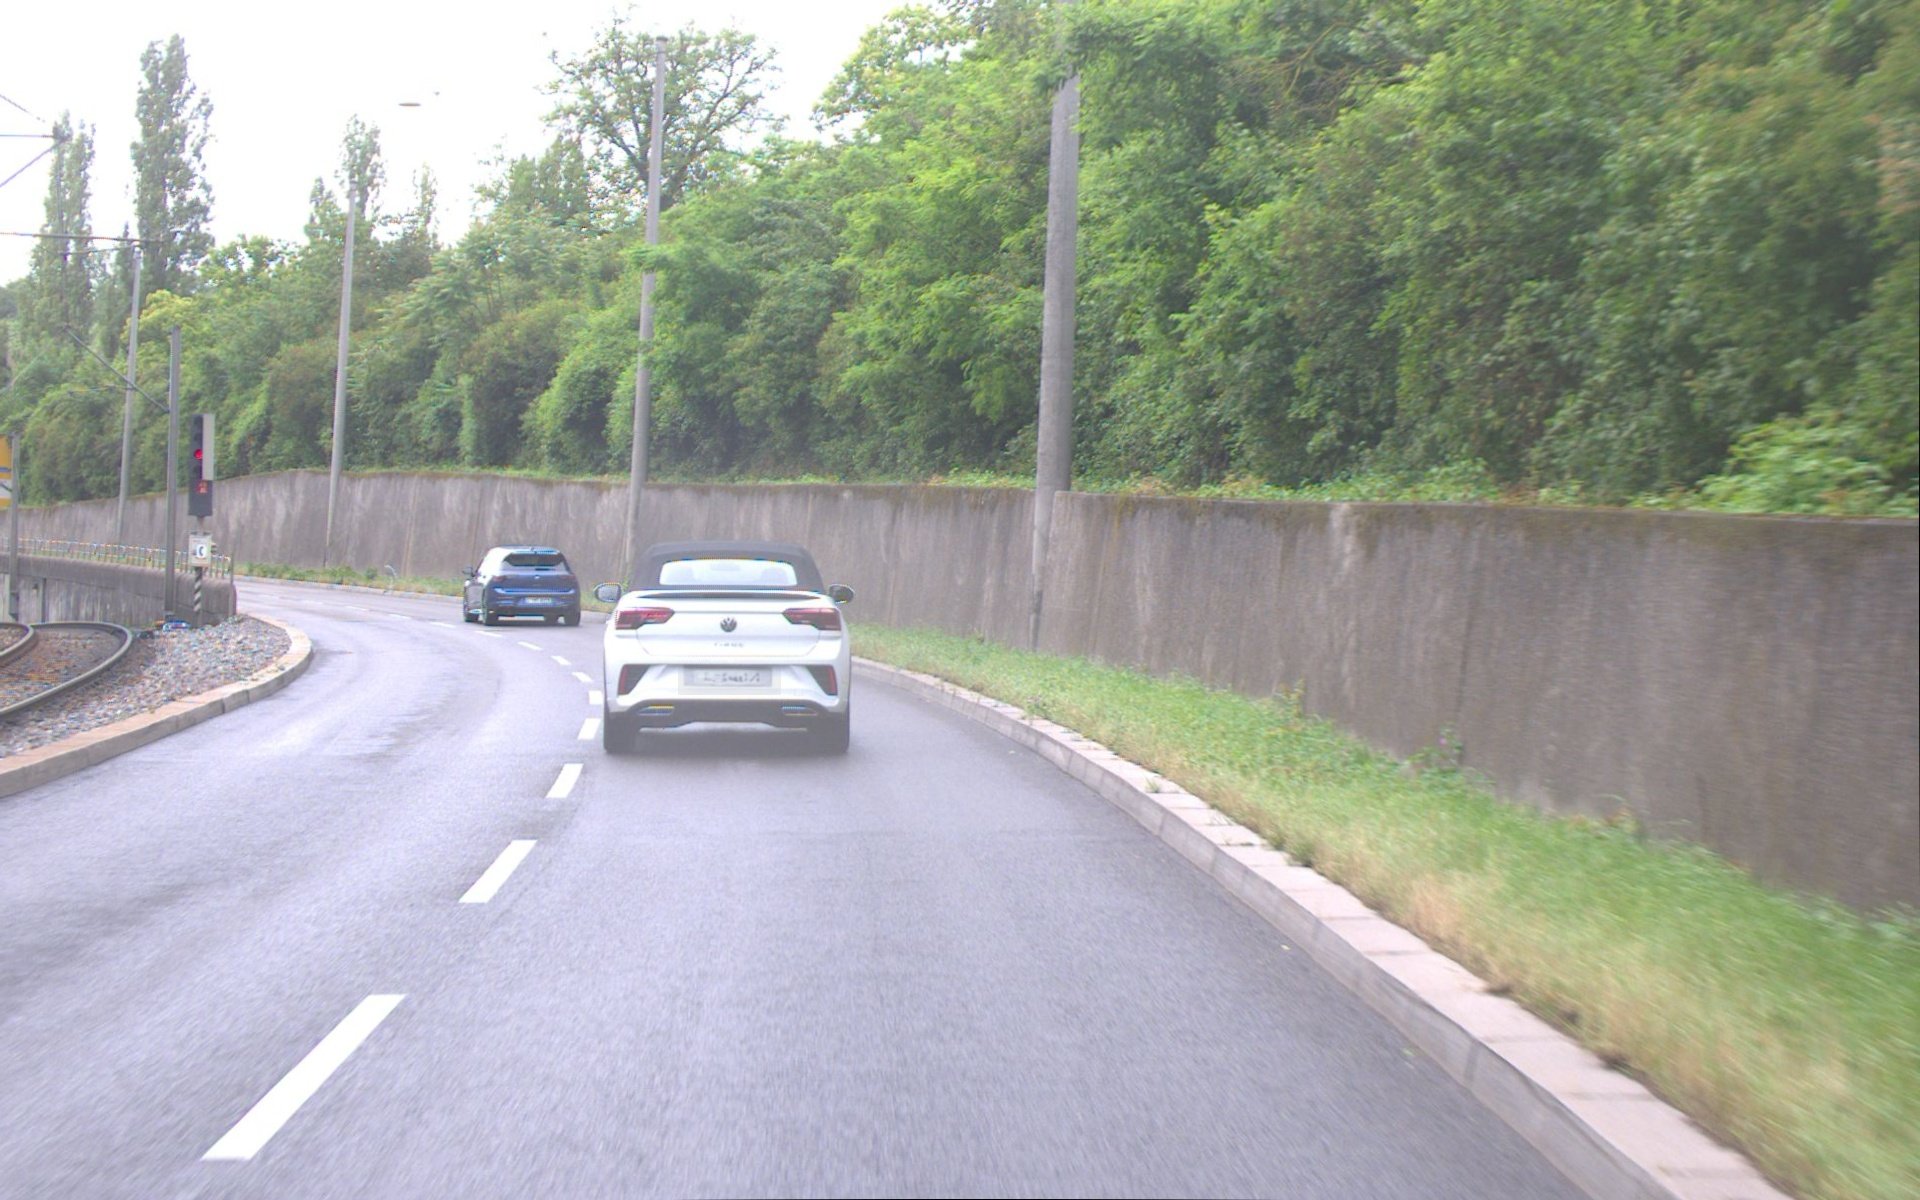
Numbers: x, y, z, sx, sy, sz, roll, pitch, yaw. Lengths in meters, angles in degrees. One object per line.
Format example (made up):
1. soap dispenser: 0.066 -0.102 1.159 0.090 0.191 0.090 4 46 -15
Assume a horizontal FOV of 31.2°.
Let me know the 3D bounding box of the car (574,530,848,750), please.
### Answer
1. car: -1.797 0.242 26.070 1.871 1.519 4.540 0 1 -2

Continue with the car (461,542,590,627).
1. car: -8.149 -0.307 64.180 1.763 1.496 4.001 1 1 -16
